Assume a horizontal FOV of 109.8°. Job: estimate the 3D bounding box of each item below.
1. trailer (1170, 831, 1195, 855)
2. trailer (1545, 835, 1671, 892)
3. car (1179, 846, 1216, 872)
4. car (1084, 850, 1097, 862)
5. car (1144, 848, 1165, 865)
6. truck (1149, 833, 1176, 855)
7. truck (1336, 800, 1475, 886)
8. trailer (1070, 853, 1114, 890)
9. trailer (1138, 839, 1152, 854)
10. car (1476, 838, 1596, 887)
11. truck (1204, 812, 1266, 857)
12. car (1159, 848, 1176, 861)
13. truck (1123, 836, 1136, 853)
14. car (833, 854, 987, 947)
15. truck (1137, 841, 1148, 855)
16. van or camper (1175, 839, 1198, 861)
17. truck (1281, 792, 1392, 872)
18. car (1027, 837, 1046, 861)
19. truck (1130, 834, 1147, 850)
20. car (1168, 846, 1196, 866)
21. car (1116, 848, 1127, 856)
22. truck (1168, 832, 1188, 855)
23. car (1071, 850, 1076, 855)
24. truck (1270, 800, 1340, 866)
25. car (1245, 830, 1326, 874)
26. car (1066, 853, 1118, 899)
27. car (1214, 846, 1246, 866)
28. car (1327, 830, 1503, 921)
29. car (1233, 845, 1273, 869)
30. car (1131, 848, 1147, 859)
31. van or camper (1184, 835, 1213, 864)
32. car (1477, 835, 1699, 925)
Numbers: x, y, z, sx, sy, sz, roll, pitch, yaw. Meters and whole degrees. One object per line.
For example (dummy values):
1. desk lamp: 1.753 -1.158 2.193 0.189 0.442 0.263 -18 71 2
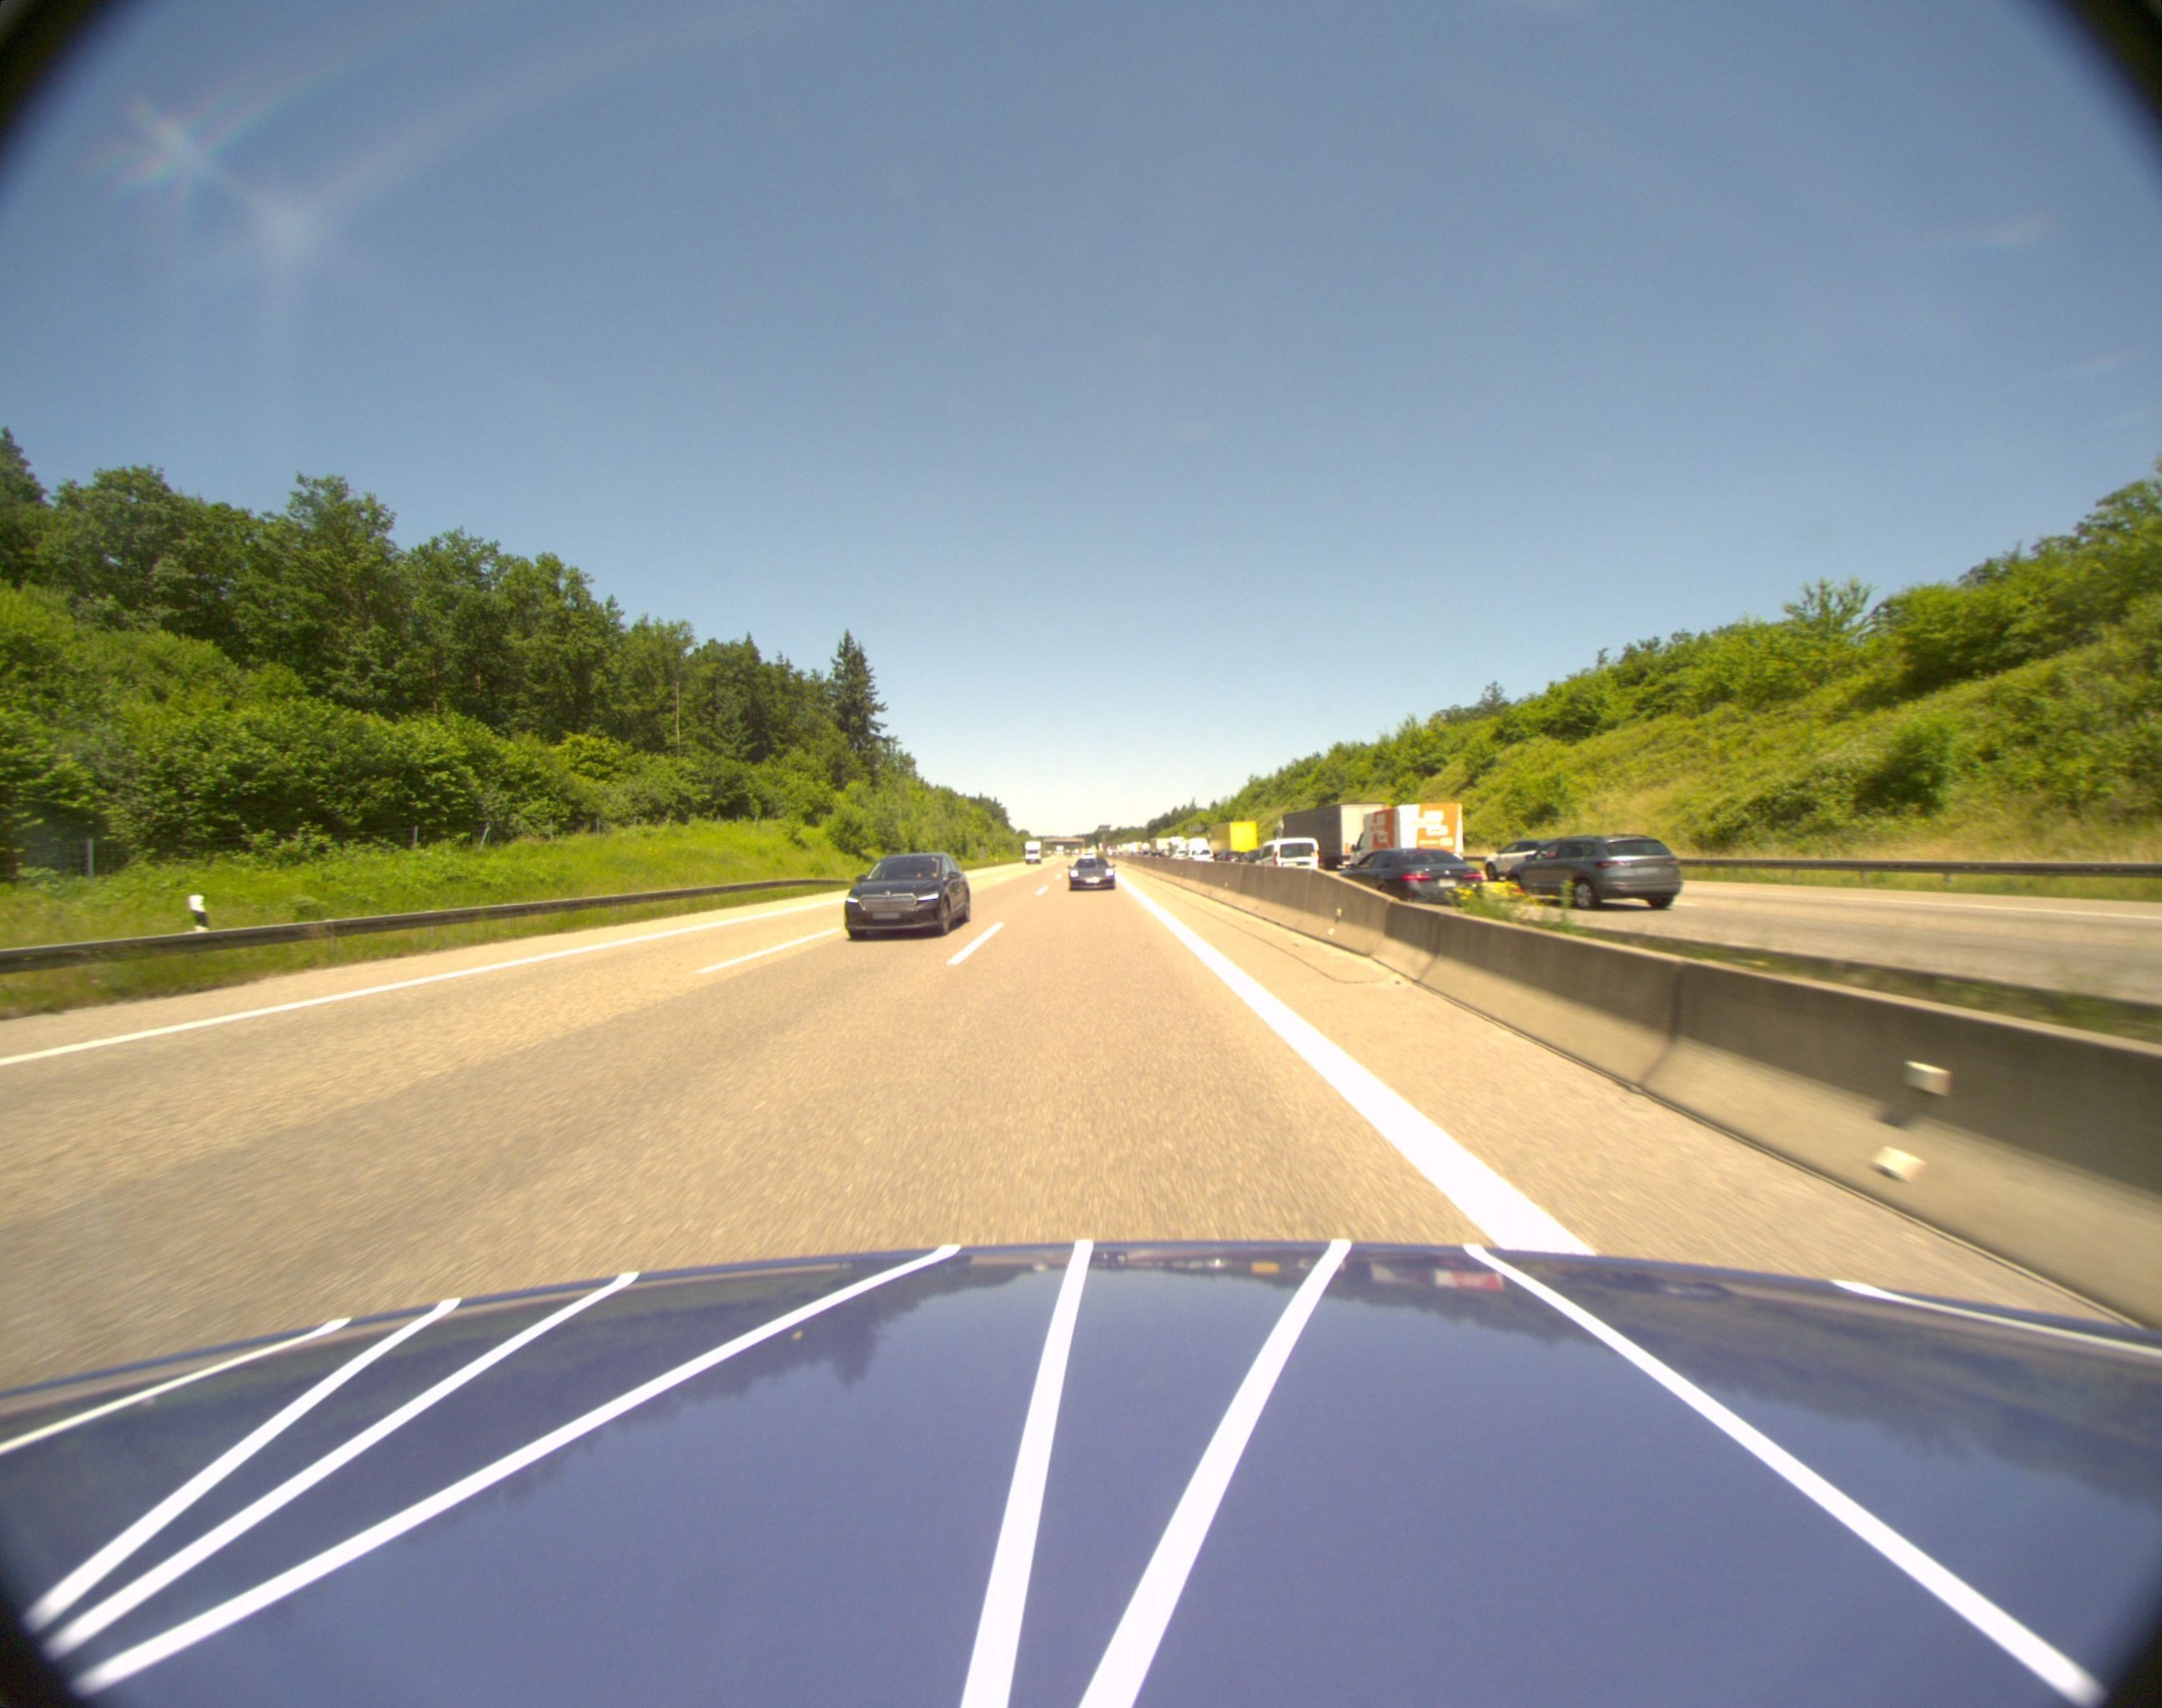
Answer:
1. trailer: 16.509 -1.720 124.472 2.617 3.711 10.681 -2 0 0
2. trailer: 16.252 0.249 23.626 1.698 1.578 3.221 -2 1 1
3. car: 8.319 0.314 54.686 1.832 1.754 4.989 -2 1 0
4. car: 1.220 0.221 100.295 1.718 1.432 4.456 -1 1 0
5. car: 8.215 0.235 85.691 1.832 1.754 4.989 -2 1 0
6. truck: 17.212 -2.175 161.799 3.706 4.431 17.377 -2 1 0
7. truck: 12.227 -0.422 29.344 2.575 2.829 6.752 -2 1 1
8. trailer: 0.513 0.694 31.415 1.689 1.399 3.046 -2 1 2
9. trailer: 16.727 -1.870 199.715 2.584 3.273 11.698 -2 -1 -1
10. car: 16.336 0.256 27.536 1.737 1.578 4.368 -2 1 1
11. truck: 16.892 -2.120 85.056 3.705 4.431 16.673 -2 1 1
12. car: 12.949 0.068 113.988 2.003 1.718 4.758 -2 1 -1
13. truck: 9.325 -1.859 145.648 2.273 2.999 6.776 -2 1 2
14. car: -3.384 0.841 16.036 1.989 1.609 4.458 -2 0 3
15. truck: 16.686 -1.658 206.324 2.500 3.344 5.187 -2 -2 -2
16. van or camper: 14.177 -0.616 102.377 2.257 2.759 7.217 -2 1 2
17. truck: 16.467 -1.373 50.457 3.002 4.517 13.923 -2 1 2
18. car: -6.601 -0.760 114.208 2.303 3.317 7.620 -2 1 -1
19. truck: 17.067 -3.468 226.049 3.706 4.431 17.377 -2 1 0
20. car: 9.238 0.161 70.054 1.832 1.754 4.989 -2 1 0
21. car: 8.684 -0.403 162.307 1.832 1.488 4.757 -2 1 -2
22. truck: 16.615 -1.828 130.769 2.685 3.722 5.871 -2 1 1
23. car: -2.378 -0.478 242.473 1.719 1.432 4.015 -2 1 -1
24. truck: 16.714 -1.528 57.375 2.949 4.490 8.604 -2 1 2
25. car: 8.099 -0.108 30.651 1.832 1.556 5.110 -2 1 0
26. car: 0.452 0.735 28.087 1.718 1.432 4.457 -2 1 2
27. car: 12.690 0.171 64.941 1.832 1.556 4.522 -2 1 0
28. car: 7.483 0.401 17.678 1.832 1.754 4.989 -2 1 0
29. car: 12.184 0.175 54.047 1.801 1.548 4.448 -2 1 1
30. car: 8.507 -0.113 111.719 1.832 1.488 4.757 -2 1 -2
31. van or camper: 12.865 -0.548 83.660 2.202 2.922 7.534 -2 1 2
32. car: 11.563 0.485 17.871 1.832 1.754 4.989 -2 1 0
